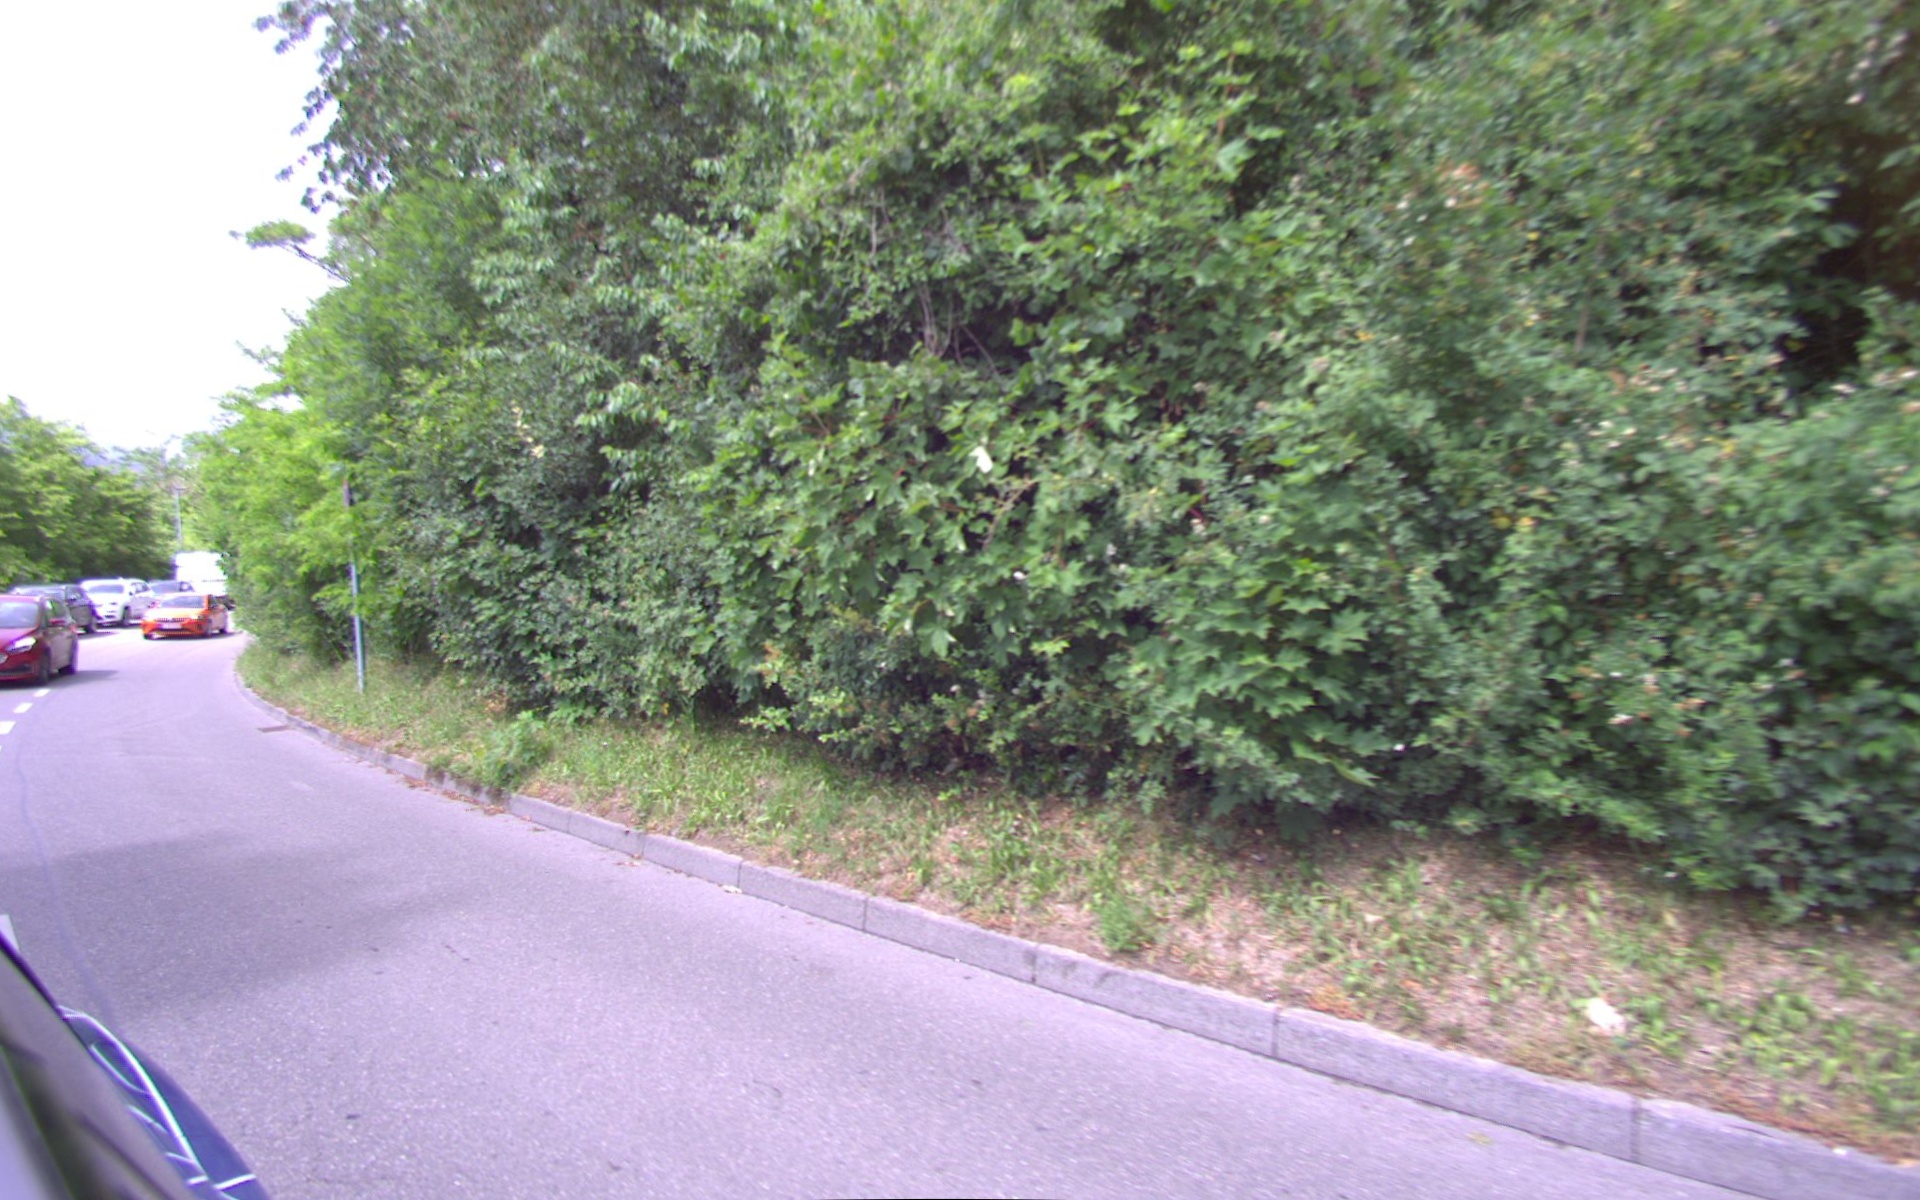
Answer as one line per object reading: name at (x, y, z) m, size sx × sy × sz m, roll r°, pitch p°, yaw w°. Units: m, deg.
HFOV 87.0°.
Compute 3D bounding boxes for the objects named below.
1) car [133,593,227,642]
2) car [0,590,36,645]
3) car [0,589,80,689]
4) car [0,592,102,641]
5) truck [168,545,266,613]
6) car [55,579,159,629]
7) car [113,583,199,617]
car at (-25.539, 0.524, 33.266) m, size 1.766 × 1.423 × 4.127 m, roll 0°, pitch 1°, yaw -28°
car at (-26.111, 0.461, 26.693) m, size 1.766 × 1.424 × 4.117 m, roll -1°, pitch 0°, yaw -31°
car at (-18.134, 0.699, 18.981) m, size 1.881 × 1.711 × 4.398 m, roll 1°, pitch -1°, yaw -34°
car at (-28.814, 0.495, 32.102) m, size 1.766 × 1.424 × 4.117 m, roll -1°, pitch 0°, yaw -31°
truck at (-36.655, -0.960, 50.128) m, size 2.187 × 3.166 × 6.167 m, roll -1°, pitch 0°, yaw -19°
car at (-31.226, 0.147, 37.190) m, size 1.766 × 1.726 × 4.119 m, roll -1°, pitch 0°, yaw -22°
car at (-34.080, 0.008, 43.016) m, size 1.766 × 1.393 × 4.119 m, roll -1°, pitch 0°, yaw -22°
